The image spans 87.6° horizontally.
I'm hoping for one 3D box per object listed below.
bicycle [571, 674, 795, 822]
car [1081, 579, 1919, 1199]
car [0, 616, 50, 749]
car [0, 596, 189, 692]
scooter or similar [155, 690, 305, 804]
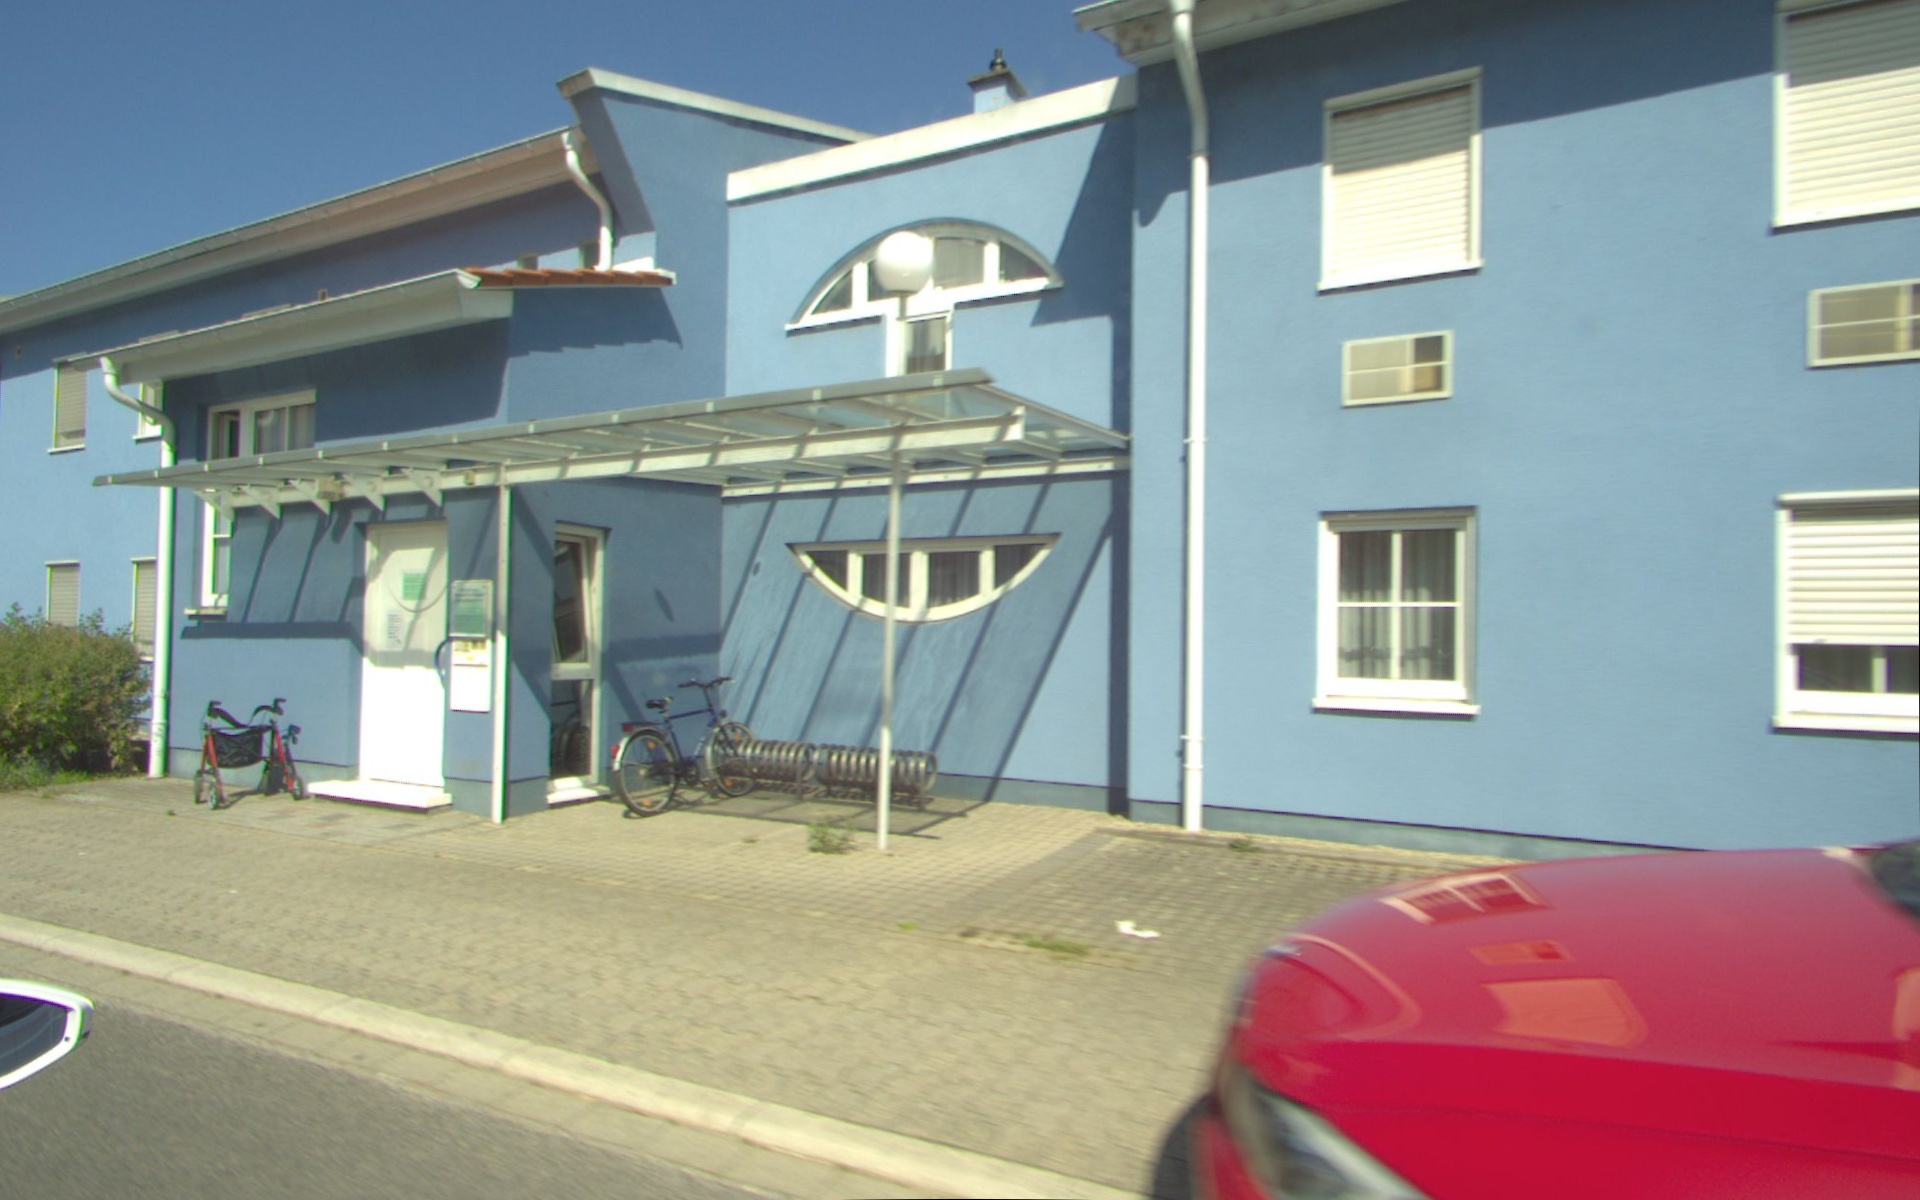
[{"bbox_3d":[-2.220,1.154,8.325,0.646,0.993,1.954,0,-1,27],"label":"bicycle"},{"bbox_3d":[2.466,0.746,1.241,4.287,1.514,1.731,0,-1,28],"label":"car"},{"bbox_3d":[-12.472,0.889,11.381,4.078,1.437,1.691,0,-3,25],"label":"car"},{"bbox_3d":[-17.227,0.810,18.653,1.784,1.678,4.174,0,-2,28],"label":"car"},{"bbox_3d":[-6.071,1.194,8.342,0.815,0.825,0.727,0,-2,29],"label":"scooter or similar"}]
